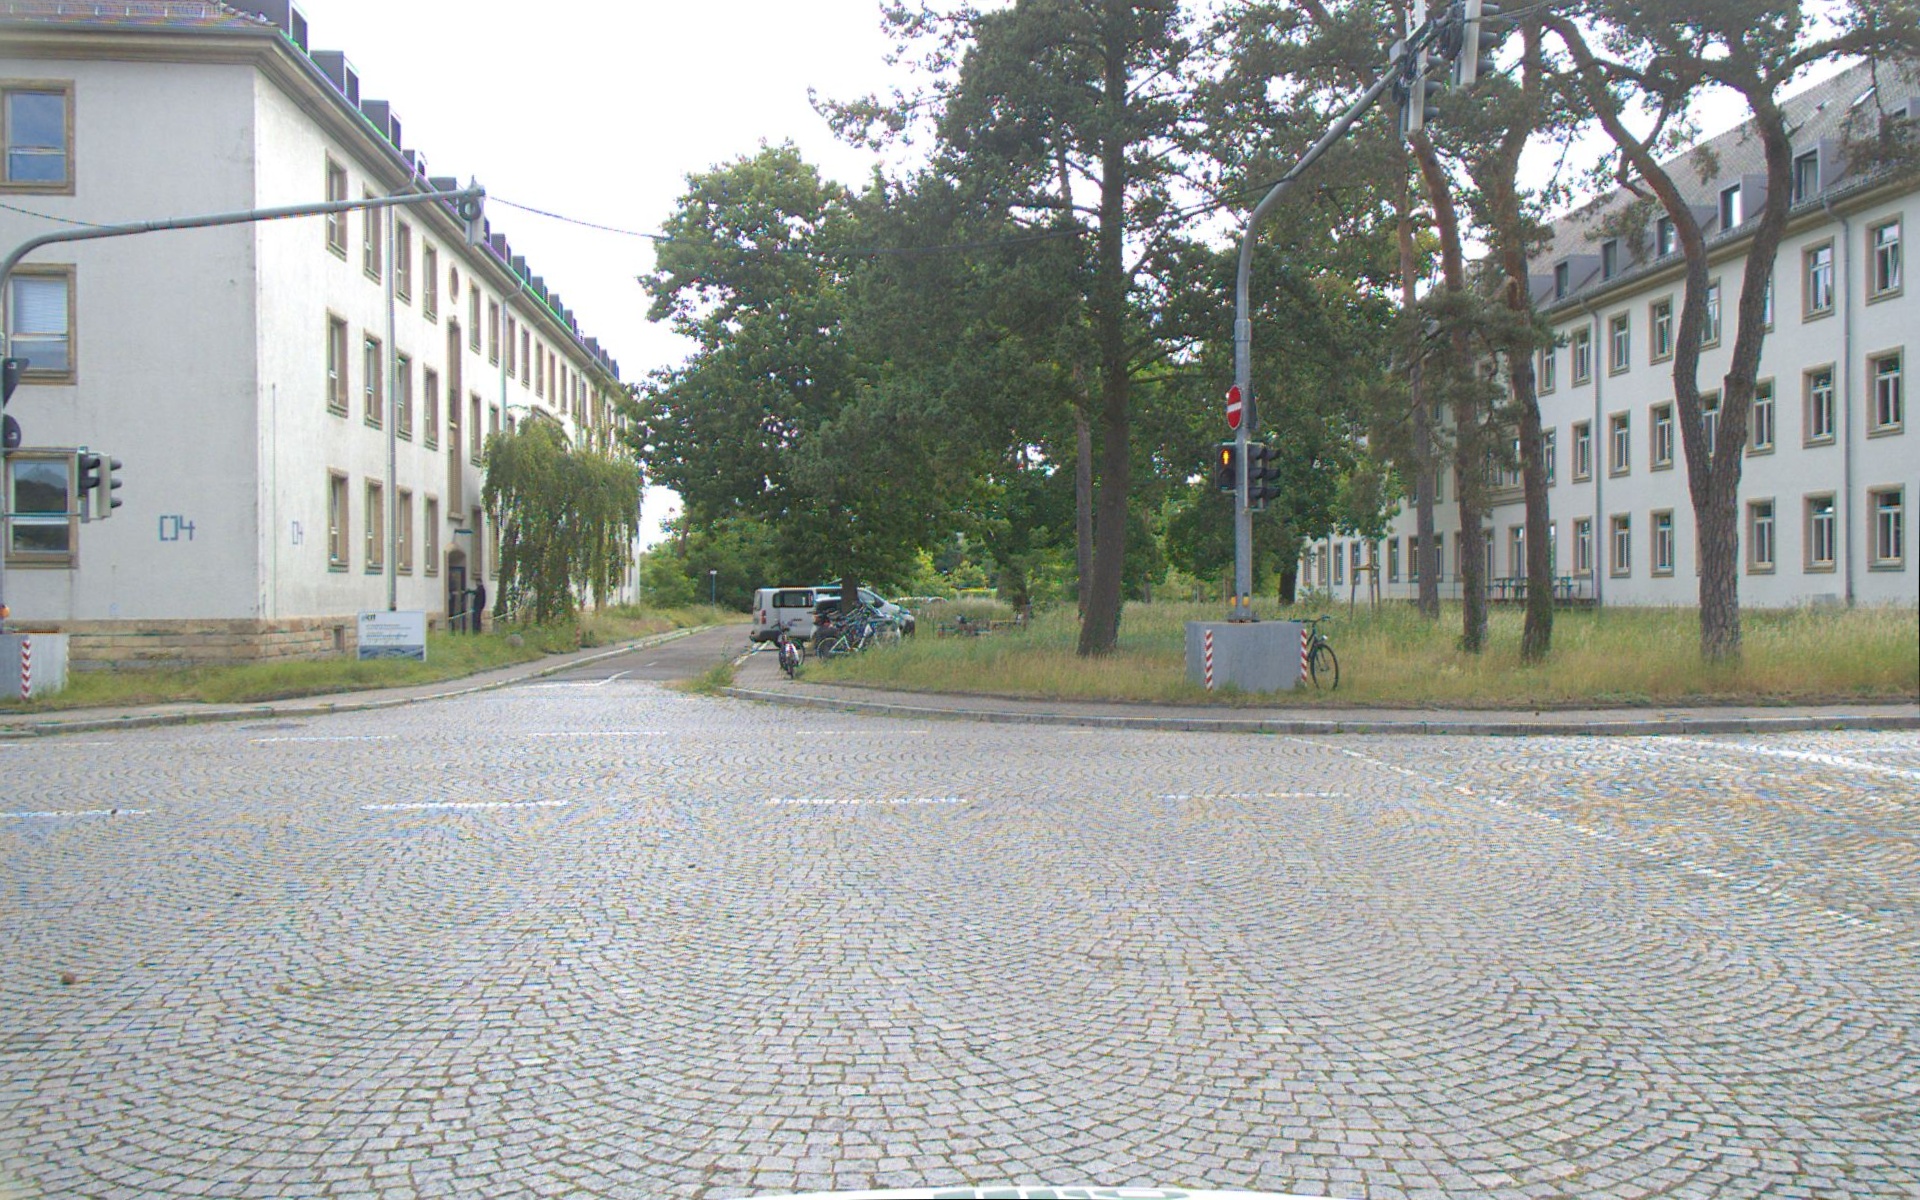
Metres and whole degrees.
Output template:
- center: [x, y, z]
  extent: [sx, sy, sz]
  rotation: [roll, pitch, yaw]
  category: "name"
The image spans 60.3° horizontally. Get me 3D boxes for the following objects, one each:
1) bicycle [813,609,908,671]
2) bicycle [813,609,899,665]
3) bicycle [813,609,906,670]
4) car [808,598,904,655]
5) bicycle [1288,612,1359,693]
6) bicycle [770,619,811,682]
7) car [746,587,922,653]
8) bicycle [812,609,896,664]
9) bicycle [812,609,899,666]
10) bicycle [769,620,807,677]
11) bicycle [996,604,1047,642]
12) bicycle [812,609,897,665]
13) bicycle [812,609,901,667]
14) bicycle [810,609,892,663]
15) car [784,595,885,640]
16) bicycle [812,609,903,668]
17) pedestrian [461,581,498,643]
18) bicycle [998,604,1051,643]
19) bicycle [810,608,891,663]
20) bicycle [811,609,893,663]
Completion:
- center: [-2.088, 0.836, 34.671]
  extent: [1.944, 1.269, 0.623]
  rotation: [1, -1, -7]
  category: "bicycle"
- center: [-2.412, 0.862, 38.226]
  extent: [1.944, 1.269, 0.623]
  rotation: [1, -1, -7]
  category: "bicycle"
- center: [-2.146, 0.841, 35.297]
  extent: [1.944, 1.269, 0.623]
  rotation: [1, -1, -7]
  category: "bicycle"
- center: [-3.117, 0.778, 49.248]
  extent: [2.792, 1.585, 1.470]
  rotation: [-1, 1, -6]
  category: "car"
- center: [5.002, 0.703, 22.840]
  extent: [0.568, 0.987, 1.678]
  rotation: [-2, 2, -1]
  category: "bicycle"
- center: [-3.189, 0.929, 31.188]
  extent: [0.610, 1.133, 1.988]
  rotation: [1, -1, -2]
  category: "bicycle"
- center: [-4.028, 0.614, 52.655]
  extent: [5.225, 1.949, 2.138]
  rotation: [-1, 0, -20]
  category: "car"
- center: [-2.529, 0.869, 39.297]
  extent: [1.944, 1.269, 0.623]
  rotation: [1, -1, -7]
  category: "bicycle"
- center: [-2.379, 0.858, 37.702]
  extent: [1.944, 1.269, 0.623]
  rotation: [1, -1, -7]
  category: "bicycle"
- center: [-3.435, 0.958, 33.126]
  extent: [0.609, 1.101, 1.677]
  rotation: [1, -1, -1]
  category: "bicycle"
- center: [1.855, 0.694, 49.857]
  extent: [1.518, 1.144, 0.401]
  rotation: [0, 0, -3]
  category: "bicycle"
- center: [-2.474, 0.864, 38.652]
  extent: [1.944, 1.269, 0.623]
  rotation: [1, -1, -7]
  category: "bicycle"
- center: [-2.326, 0.853, 37.072]
  extent: [1.944, 1.269, 0.623]
  rotation: [1, -1, -7]
  category: "bicycle"
- center: [-2.660, 0.876, 40.296]
  extent: [1.944, 1.269, 0.623]
  rotation: [1, -1, -7]
  category: "bicycle"
- center: [-5.056, 0.687, 66.493]
  extent: [3.954, 1.748, 1.679]
  rotation: [-1, -1, -6]
  category: "car"
- center: [-2.245, 0.847, 36.217]
  extent: [1.944, 1.269, 0.623]
  rotation: [1, -1, -7]
  category: "bicycle"
- center: [-14.404, 0.355, 49.549]
  extent: [0.820, 1.812, 0.941]
  rotation: [0, 0, 1]
  category: "pedestrian"
- center: [1.893, 0.687, 48.625]
  extent: [1.518, 1.144, 0.401]
  rotation: [0, 0, -3]
  category: "bicycle"
- center: [-2.722, 0.880, 40.952]
  extent: [1.944, 1.269, 0.623]
  rotation: [-2, 0, -7]
  category: "bicycle"
- center: [-2.598, 0.872, 39.806]
  extent: [1.944, 1.269, 0.623]
  rotation: [1, -1, -7]
  category: "bicycle"
